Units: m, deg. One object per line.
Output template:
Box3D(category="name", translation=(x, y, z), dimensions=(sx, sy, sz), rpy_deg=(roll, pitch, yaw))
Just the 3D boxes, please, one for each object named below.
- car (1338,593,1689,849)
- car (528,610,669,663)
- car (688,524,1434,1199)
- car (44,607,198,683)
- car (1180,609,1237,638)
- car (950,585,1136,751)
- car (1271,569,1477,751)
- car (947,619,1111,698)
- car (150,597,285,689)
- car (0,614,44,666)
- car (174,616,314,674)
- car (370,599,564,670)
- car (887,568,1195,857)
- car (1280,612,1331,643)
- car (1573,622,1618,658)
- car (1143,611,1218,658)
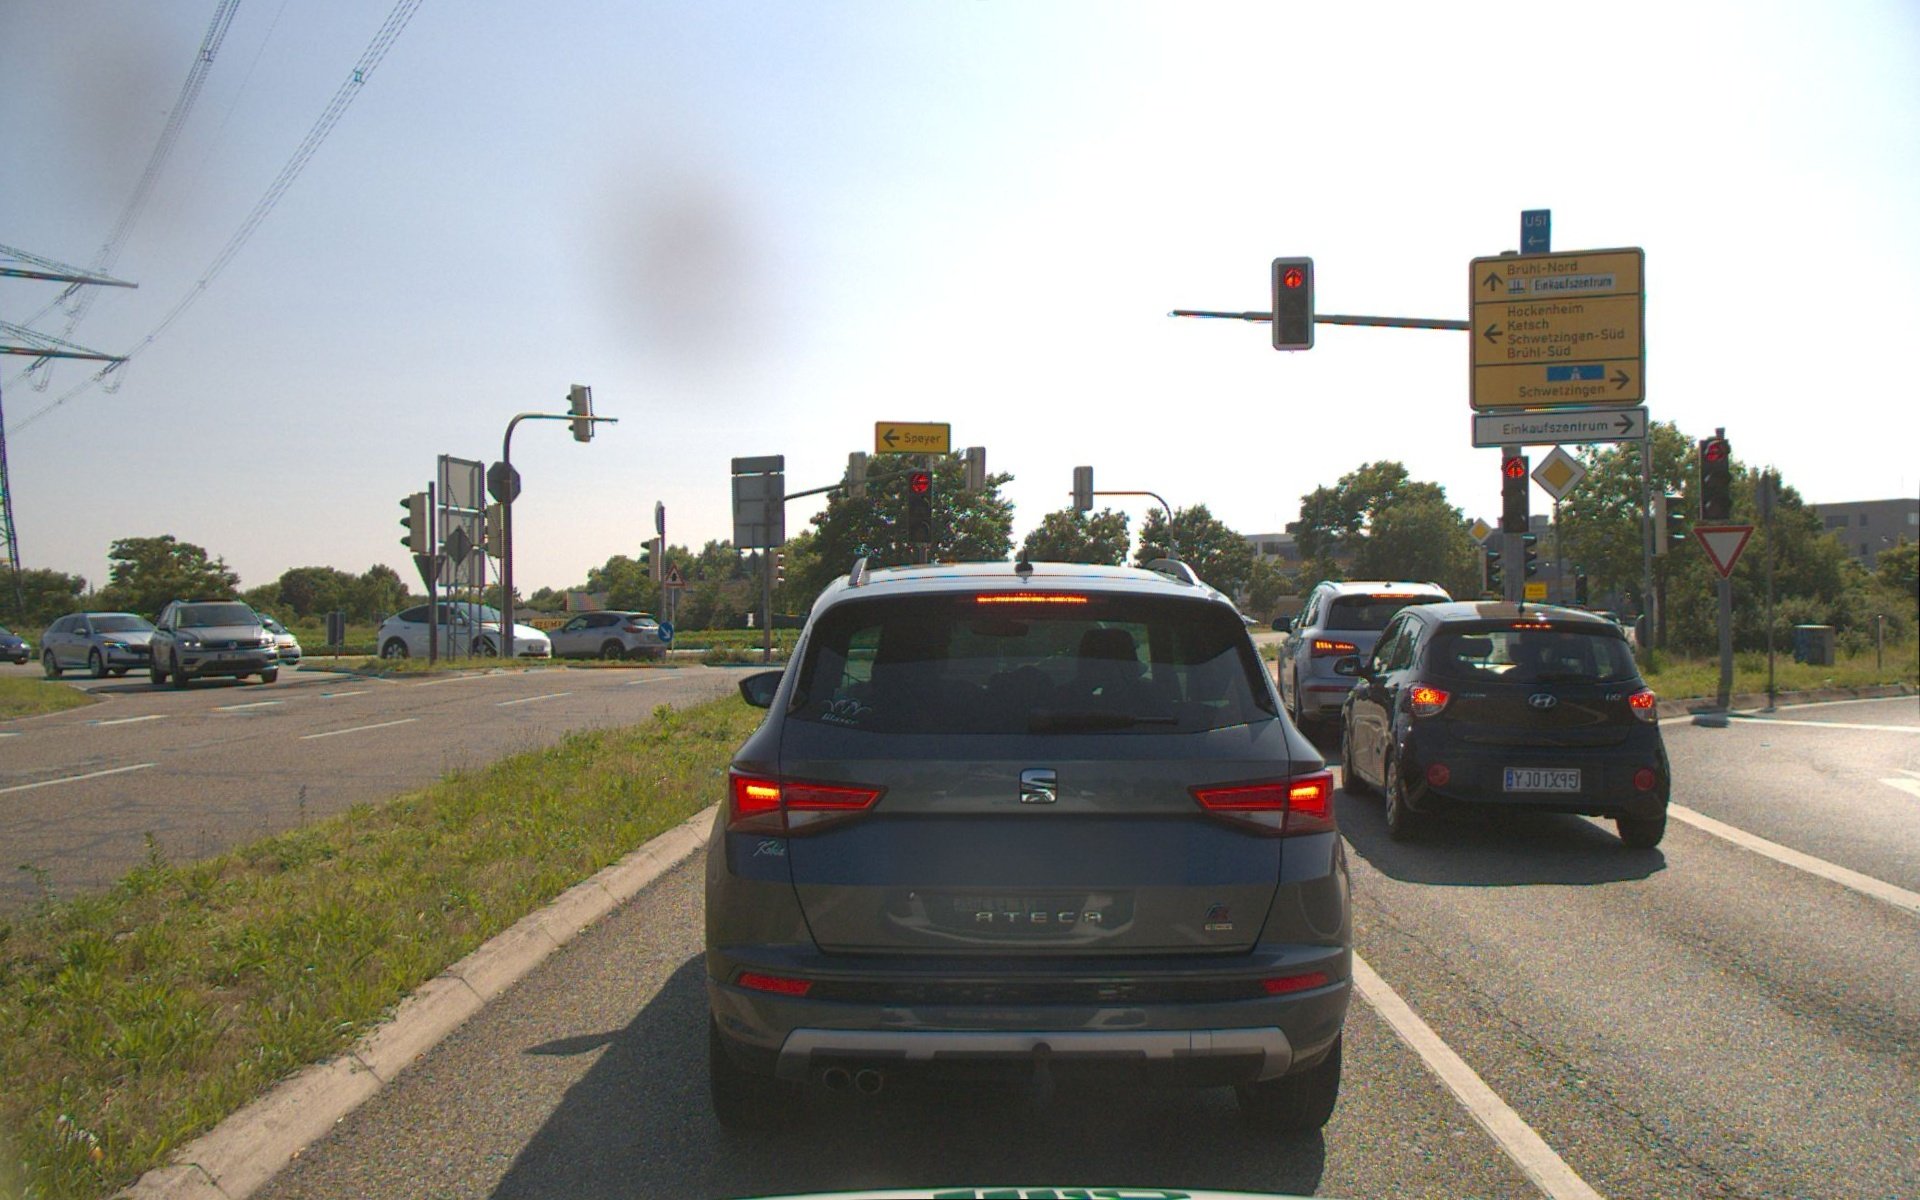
Box3D(category="car", translation=(3.625, 0.706, 11.378), dimensions=(1.598, 1.473, 3.297), rpy_deg=(1, 0, 6))
Box3D(category="car", translation=(-11.022, 1.111, 50.454), dimensions=(3.944, 1.545, 1.806), rpy_deg=(-1, 0, 25))
Box3D(category="car", translation=(0.215, 0.651, 5.652), dimensions=(1.706, 1.596, 3.623), rpy_deg=(1, 0, -1))
Box3D(category="car", translation=(-19.670, 1.014, 38.716), dimensions=(3.924, 1.680, 1.811), rpy_deg=(-1, -1, 39))
Box3D(category="car", translation=(13.384, 1.271, 88.952), dimensions=(1.687, 1.524, 3.760), rpy_deg=(1, 0, 32))
Box3D(category="car", translation=(0.915, 0.648, 17.270), dimensions=(1.705, 1.510, 3.626), rpy_deg=(1, 0, 4))
Box3D(category="car", translation=(4.291, 0.575, 17.618), dimensions=(1.598, 1.706, 3.752), rpy_deg=(1, 0, 6))
Box3D(category="car", translation=(1.795, 1.488, 43.272), dimensions=(3.929, 1.987, 1.694), rpy_deg=(0, -1, 27))
Box3D(category="car", translation=(-14.561, 0.800, 32.314), dimensions=(1.798, 1.680, 3.953), rpy_deg=(0, 0, -34))
Box3D(category="car", translation=(-32.668, 1.327, 55.177), dimensions=(3.910, 1.680, 1.818), rpy_deg=(-1, 0, 27))
Box3D(category="car", translation=(-21.467, 1.328, 49.573), dimensions=(3.910, 1.680, 1.818), rpy_deg=(-1, 0, 27))
Box3D(category="car", translation=(-12.220, 0.831, 40.908), dimensions=(4.653, 1.680, 1.818), rpy_deg=(0, 0, 27))
Box3D(category="car", translation=(0.461, 0.644, 11.142), dimensions=(1.706, 1.596, 3.624), rpy_deg=(1, 0, 0))
Box3D(category="car", translation=(19.390, 1.535, 92.777), dimensions=(1.841, 1.702, 3.765), rpy_deg=(1, 0, 28))
Box3D(category="car", translation=(31.597, 1.950, 82.241), dimensions=(1.839, 1.702, 3.767), rpy_deg=(1, 0, 24))
Box3D(category="car", translation=(8.568, 1.310, 64.017), dimensions=(1.839, 1.702, 3.767), rpy_deg=(1, 0, 25))
